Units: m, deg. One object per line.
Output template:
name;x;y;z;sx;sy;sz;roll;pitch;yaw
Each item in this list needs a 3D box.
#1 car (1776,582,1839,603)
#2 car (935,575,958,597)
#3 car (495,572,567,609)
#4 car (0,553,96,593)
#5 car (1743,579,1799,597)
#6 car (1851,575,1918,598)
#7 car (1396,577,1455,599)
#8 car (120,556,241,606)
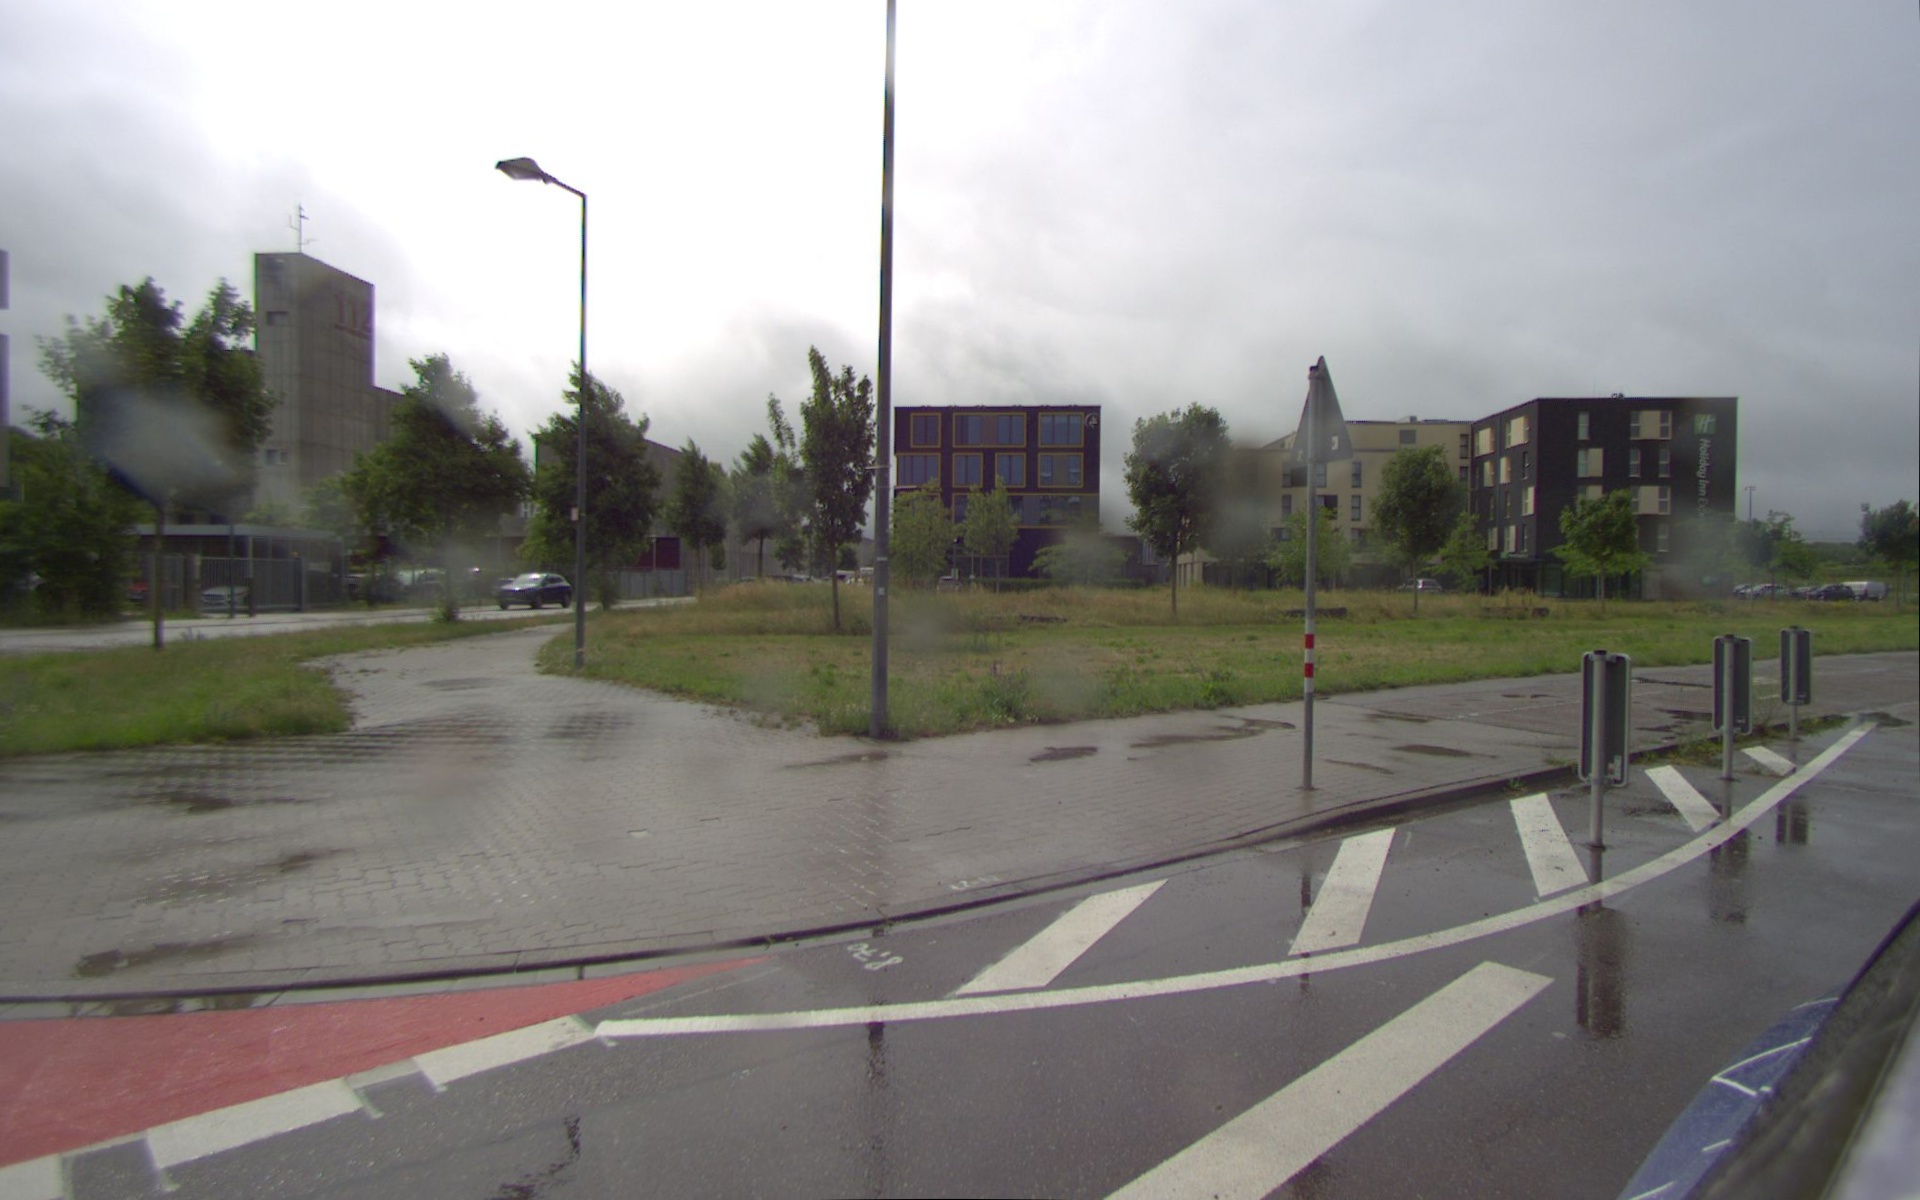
car;70.258;-0.606;83.905;3.599;1.682;1.642;0;1;16
car;-1.041;-1.061;76.039;1.616;1.602;3.671;0;1;-3
car;-19.627;-0.456;46.434;1.571;1.631;3.596;0;1;4
car;-39.533;-1.131;43.531;1.522;1.631;3.646;0;1;4
car;72.683;-1.084;90.756;3.594;1.631;1.594;0;1;12
car;83.492;-1.218;91.424;3.934;2.039;1.995;0;1;9
car;33.178;-0.851;72.156;3.591;1.603;1.652;0;1;-14
car;-33.251;-0.801;43.321;1.964;2.039;3.996;0;1;4
